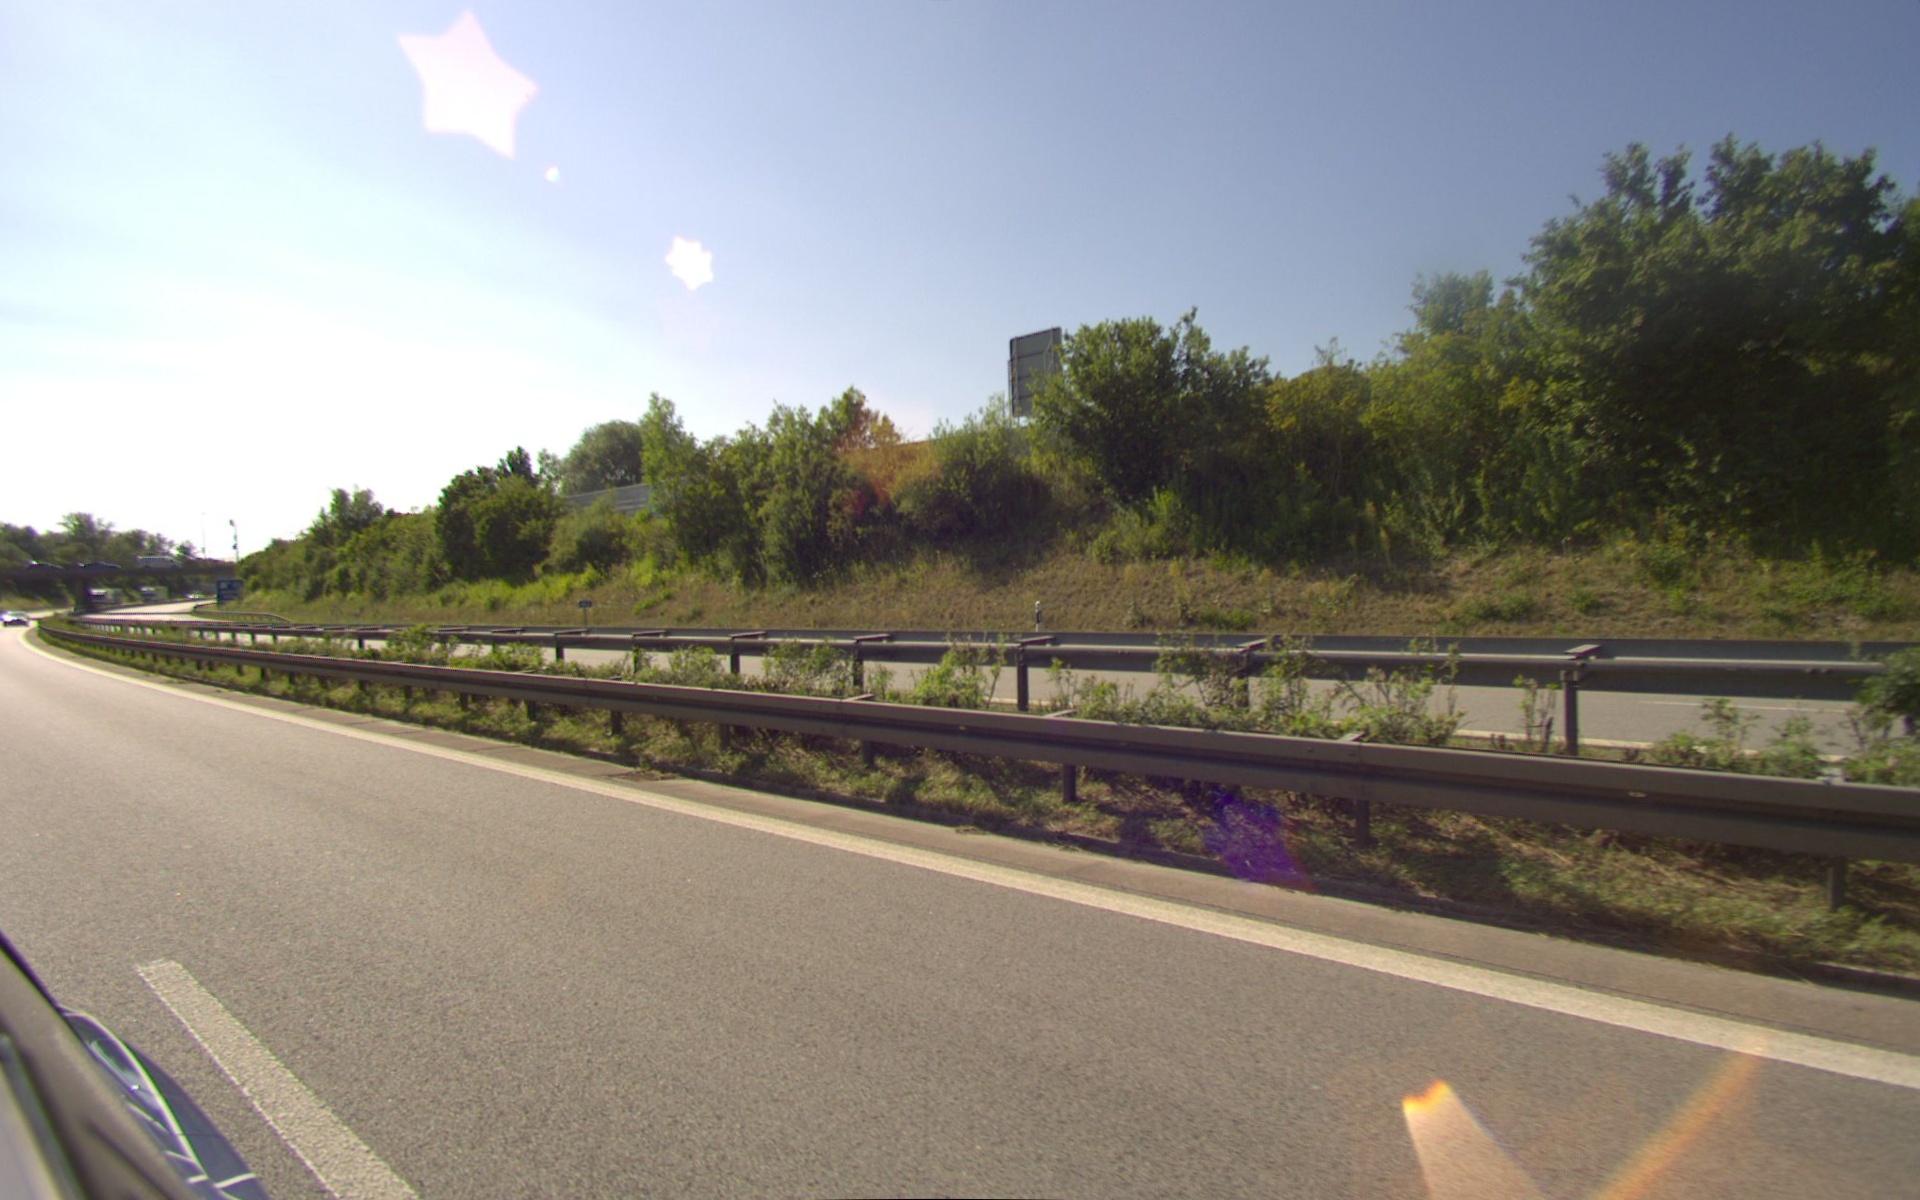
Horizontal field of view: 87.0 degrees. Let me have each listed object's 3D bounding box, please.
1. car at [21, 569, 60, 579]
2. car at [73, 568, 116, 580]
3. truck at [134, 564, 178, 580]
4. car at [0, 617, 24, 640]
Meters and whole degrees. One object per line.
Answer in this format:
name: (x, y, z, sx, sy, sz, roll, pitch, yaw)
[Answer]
car: (-123.098, -3.423, 135.527, 3.785, 1.315, 1.828, -1, 2, -38)
car: (-119.309, -3.589, 139.553, 4.371, 1.567, 1.910, -1, 2, -38)
truck: (-114.076, -3.932, 143.660, 4.795, 2.183, 2.004, -1, 2, -39)
car: (-89.132, 2.629, 94.821, 1.969, 2.028, 4.605, -3, 1, -42)
